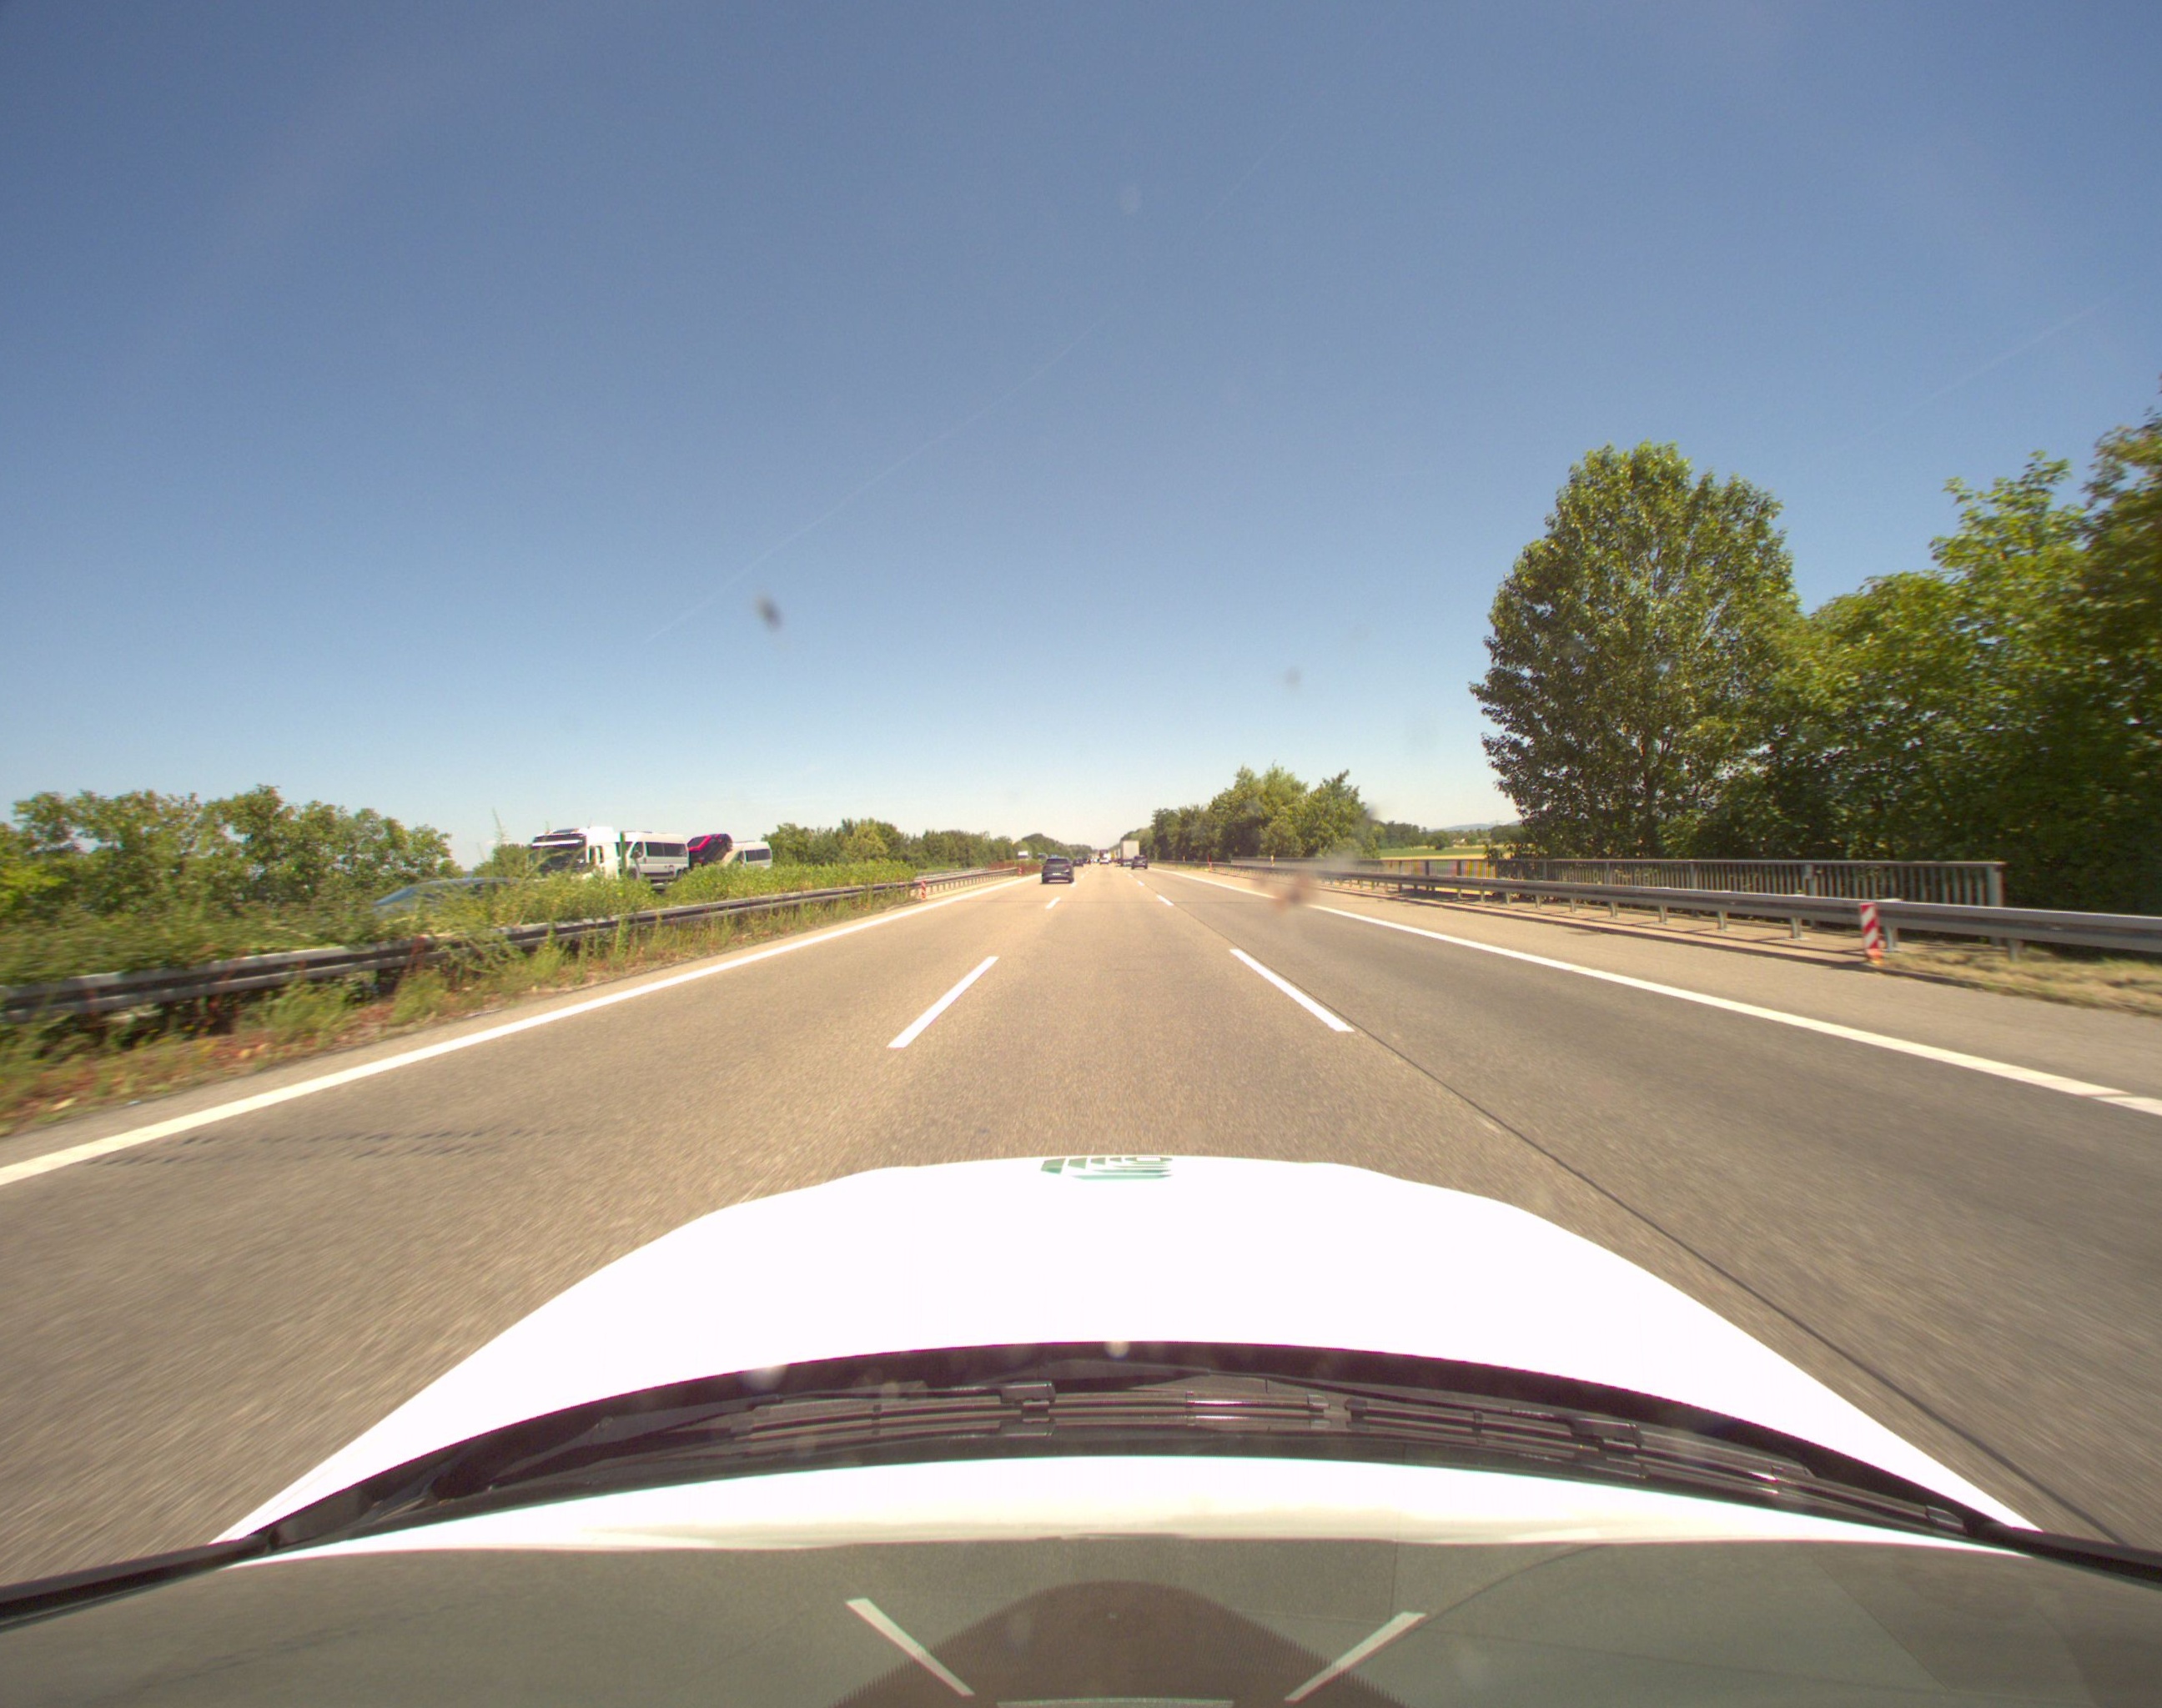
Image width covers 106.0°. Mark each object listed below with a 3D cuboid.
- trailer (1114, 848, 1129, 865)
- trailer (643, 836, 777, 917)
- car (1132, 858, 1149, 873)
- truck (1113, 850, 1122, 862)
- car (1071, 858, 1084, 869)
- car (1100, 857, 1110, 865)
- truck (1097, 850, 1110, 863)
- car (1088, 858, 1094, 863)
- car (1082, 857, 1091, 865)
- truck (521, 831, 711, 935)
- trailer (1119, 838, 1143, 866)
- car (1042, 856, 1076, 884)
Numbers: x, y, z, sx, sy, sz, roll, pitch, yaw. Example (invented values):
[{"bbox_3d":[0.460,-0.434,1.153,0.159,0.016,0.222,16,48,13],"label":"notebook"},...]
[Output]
[{"bbox_3d":[9.517,0.581,191.346,3.112,3.926,9.937,-1,0,1],"label":"trailer"},{"bbox_3d":[-20.183,1.092,45.182,2.916,3.990,9.659,-1,0,0],"label":"trailer"},{"bbox_3d":[6.951,1.386,95.791,1.838,1.629,4.137,-2,0,2],"label":"car"},{"bbox_3d":[11.470,0.565,256.348,2.781,3.725,7.113,-1,0,3],"label":"truck"},{"bbox_3d":[-0.506,1.506,129.072,1.893,1.531,4.085,-1,0,2],"label":"car"},{"bbox_3d":[4.802,1.424,163.218,1.893,1.531,4.085,-1,0,2],"label":"car"},{"bbox_3d":[6.665,0.658,244.064,3.652,3.725,7.113,-1,0,3],"label":"truck"},{"bbox_3d":[3.111,1.898,250.089,1.900,1.531,4.287,-1,0,2],"label":"car"},{"bbox_3d":[1.253,1.563,181.167,1.900,1.531,4.287,-1,0,2],"label":"car"},{"bbox_3d":[-20.248,1.110,36.449,2.908,3.990,9.621,-1,0,0],"label":"truck"},{"bbox_3d":[7.846,-0.238,130.097,3.421,4.181,13.638,-1,-1,2],"label":"trailer"},{"bbox_3d":[-1.292,0.924,48.596,1.753,1.531,4.287,-1,0,2],"label":"car"}]
